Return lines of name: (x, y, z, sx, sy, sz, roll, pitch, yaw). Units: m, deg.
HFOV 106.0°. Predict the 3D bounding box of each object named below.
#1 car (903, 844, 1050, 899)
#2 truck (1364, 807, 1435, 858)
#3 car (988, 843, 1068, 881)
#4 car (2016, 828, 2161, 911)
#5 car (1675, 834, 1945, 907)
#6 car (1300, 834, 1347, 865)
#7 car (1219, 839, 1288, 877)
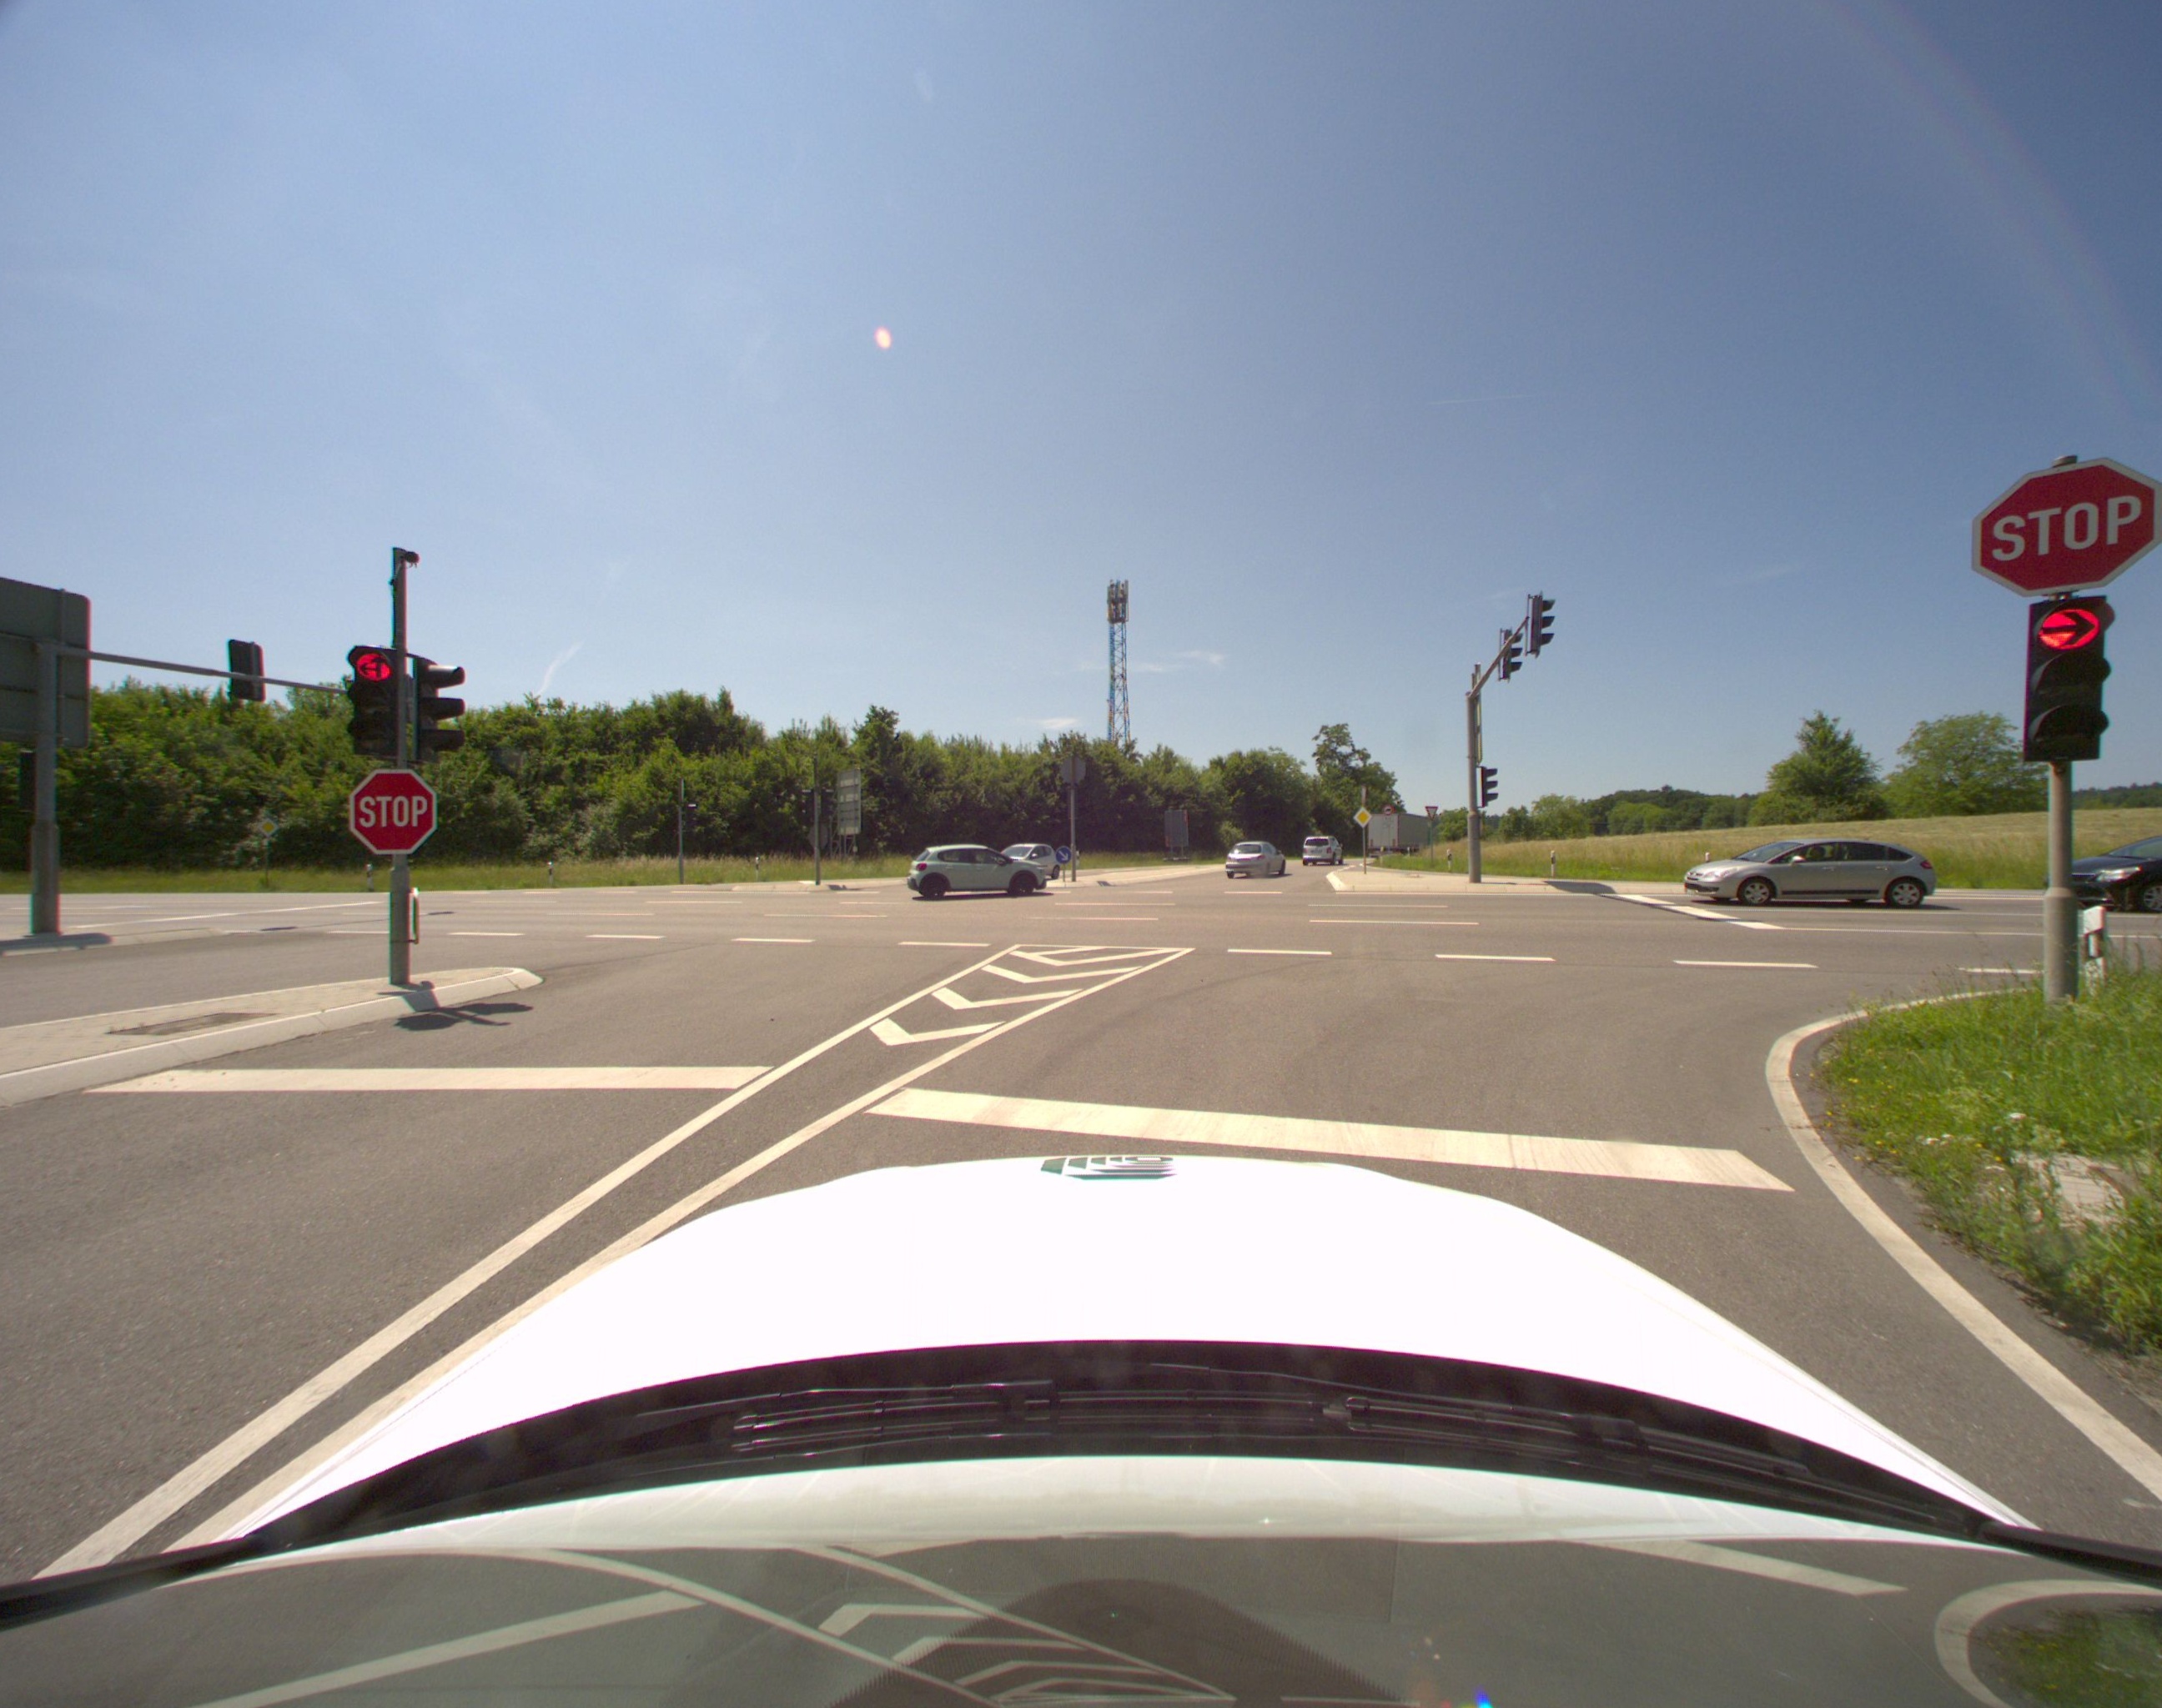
car: (-3.055, 0.465, 23.641, 3.983, 1.404, 1.725, -2, 2, -17)
truck: (29.403, -1.859, 74.482, 3.095, 4.172, 16.792, -1, 0, 31)
car: (-2.083, 0.294, 32.957, 1.550, 1.370, 3.553, 0, 2, 28)
car: (21.986, 0.274, 16.068, 4.332, 1.553, 1.738, 0, 2, 20)
car: (15.972, 0.317, 18.114, 4.124, 1.469, 1.737, 0, 2, 17)
car: (14.047, -0.271, 46.969, 1.795, 1.624, 4.085, -1, 1, 28)
car: (7.052, 0.124, 33.019, 1.796, 1.413, 3.806, 0, 2, 26)
